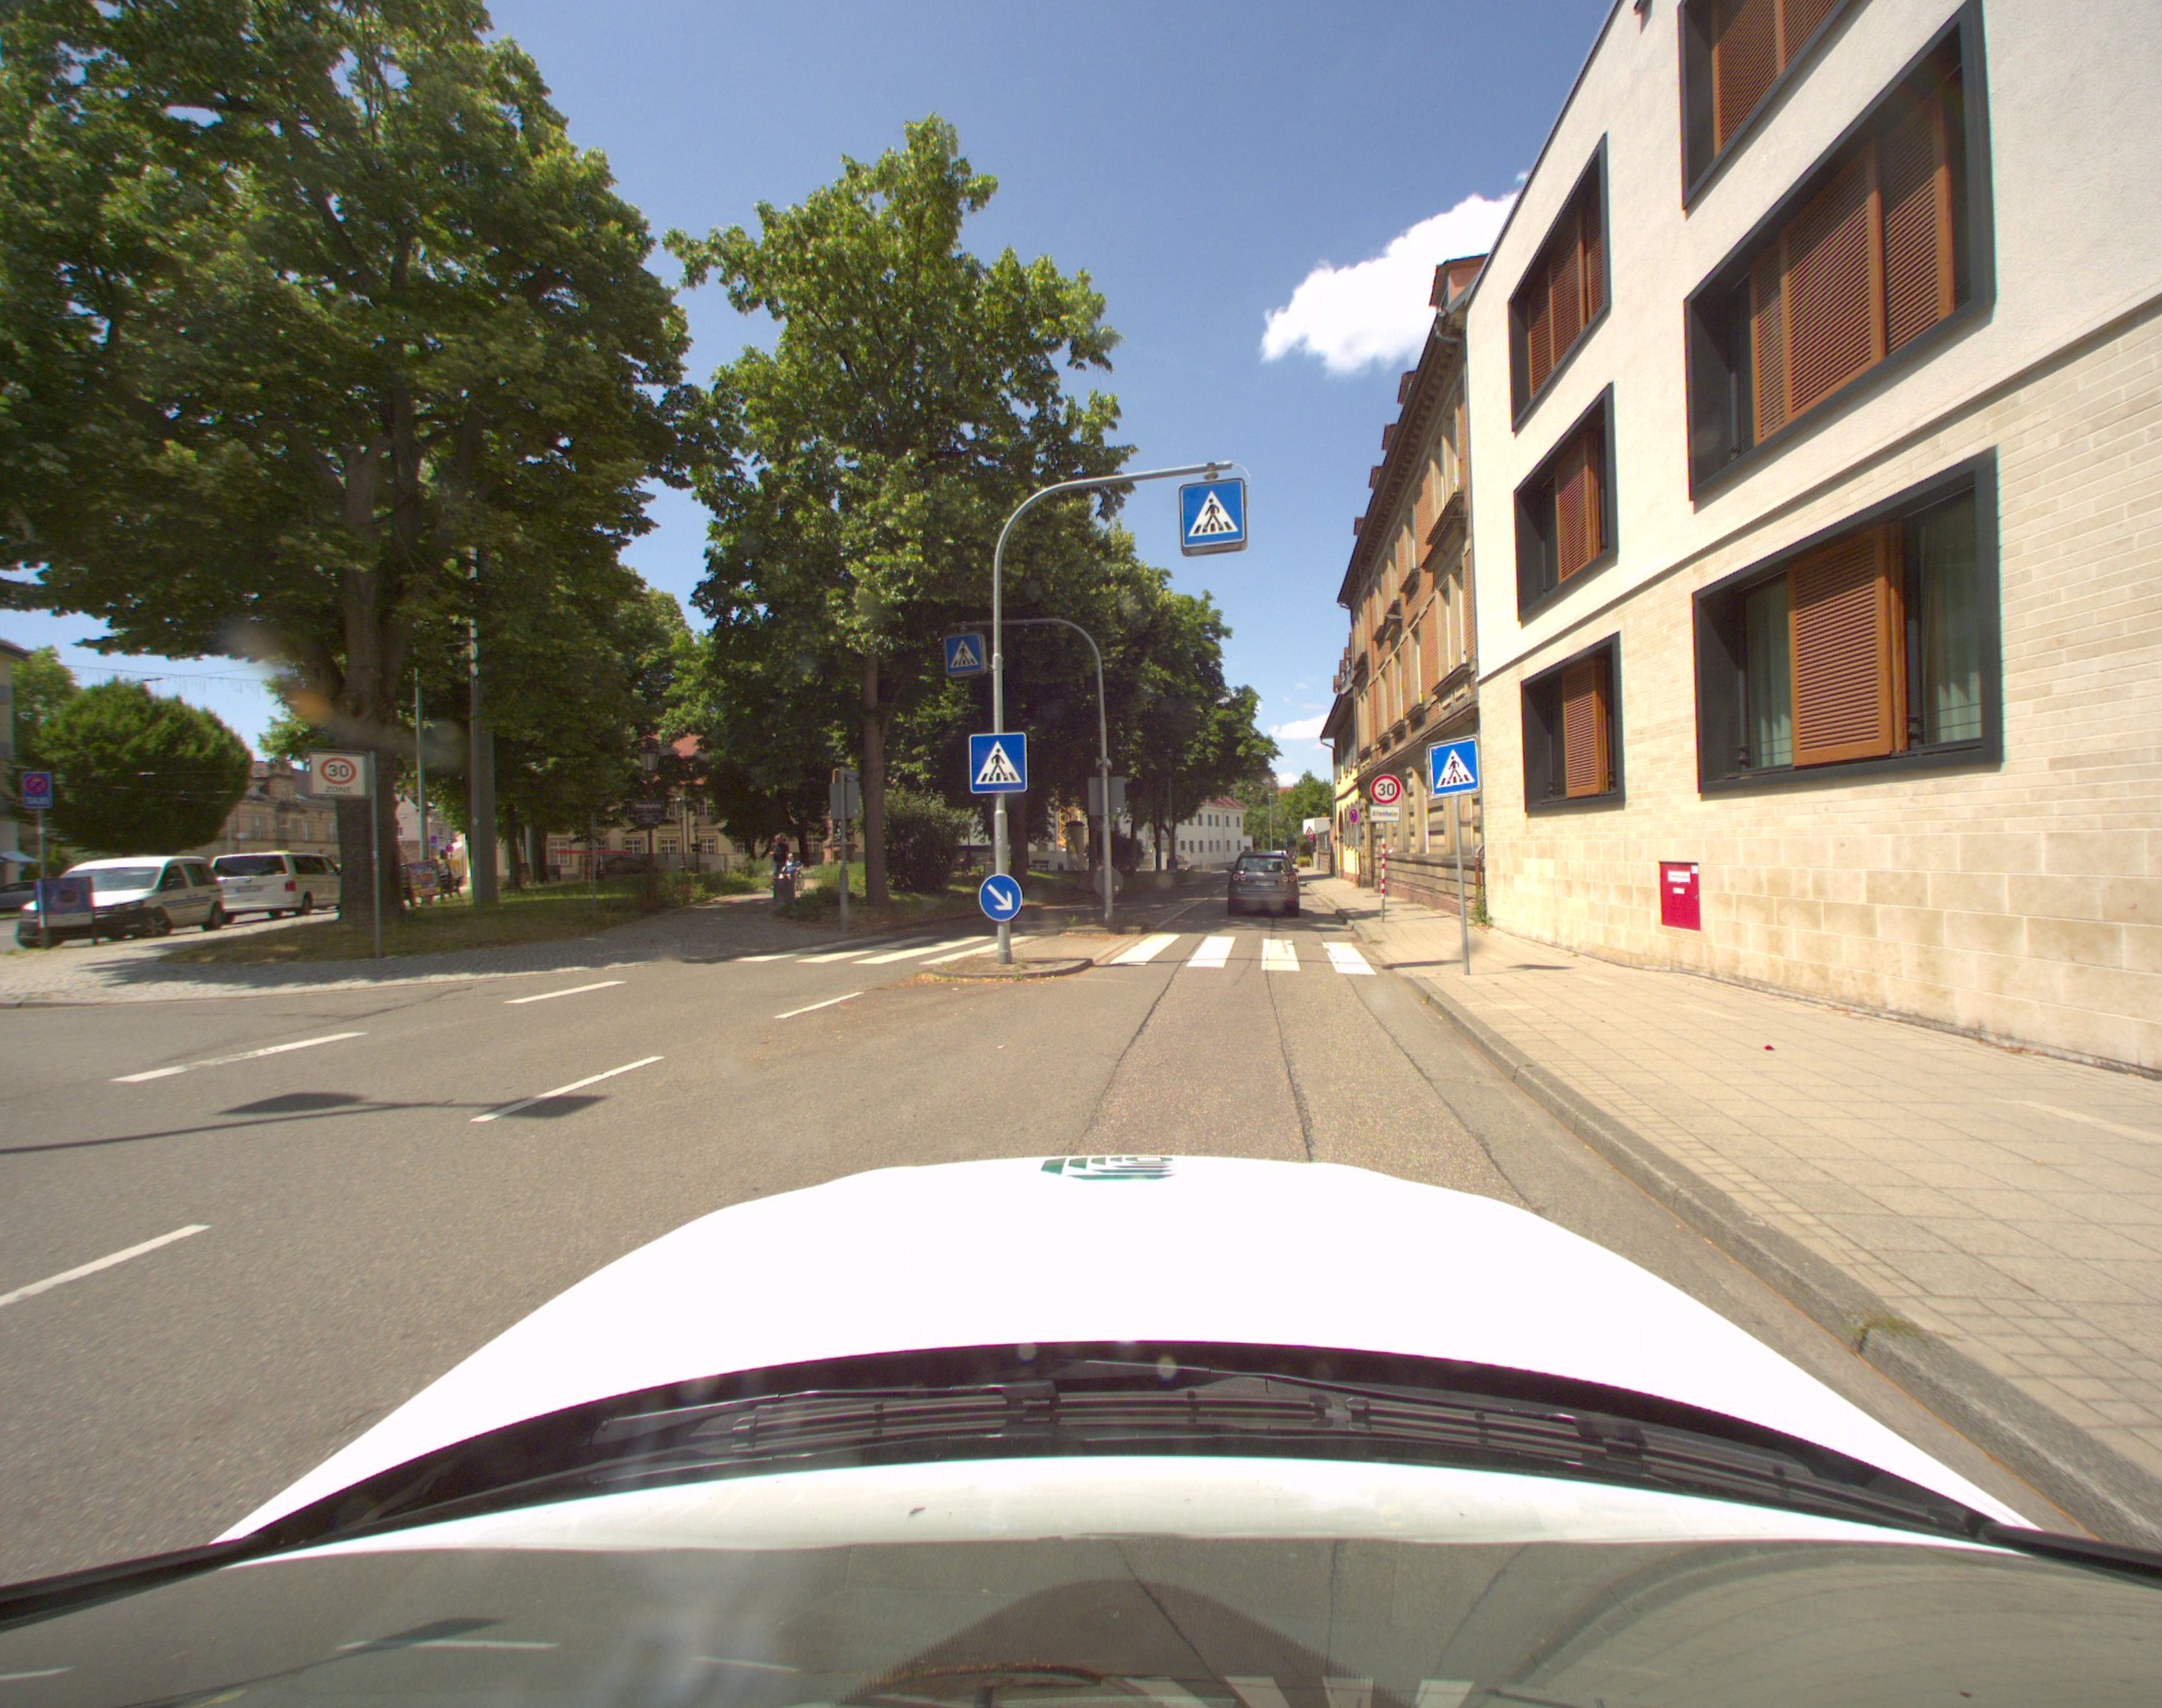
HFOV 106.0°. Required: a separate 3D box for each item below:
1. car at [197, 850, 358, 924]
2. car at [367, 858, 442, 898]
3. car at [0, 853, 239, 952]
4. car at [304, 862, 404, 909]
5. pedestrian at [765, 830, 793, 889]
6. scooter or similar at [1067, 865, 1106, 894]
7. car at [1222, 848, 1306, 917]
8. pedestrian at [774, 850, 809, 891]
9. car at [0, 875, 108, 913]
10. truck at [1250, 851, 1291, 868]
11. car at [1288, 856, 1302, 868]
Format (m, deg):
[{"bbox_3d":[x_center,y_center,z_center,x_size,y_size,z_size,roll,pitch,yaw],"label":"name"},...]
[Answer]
[{"bbox_3d":[-24.491,0.919,25.102,2.061,2.002,5.202,-1,0,-27],"label":"car"},{"bbox_3d":[-31.201,1.067,37.681,1.793,1.693,4.162,-1,0,-27],"label":"car"},{"bbox_3d":[-20.581,0.927,17.671,2.006,1.826,4.380,-1,0,-29],"label":"car"},{"bbox_3d":[-27.875,1.155,31.399,1.793,1.624,4.445,-1,0,-27],"label":"car"},{"bbox_3d":[-9.928,0.158,26.803,0.749,1.910,0.681,-1,1,-14],"label":"pedestrian"},{"bbox_3d":[0.234,1.033,33.508,1.264,0.991,1.456,7,1,11],"label":"scooter or similar"},{"bbox_3d":[4.727,0.667,21.163,1.891,1.533,4.258,2,0,12],"label":"car"},{"bbox_3d":[-9.314,0.508,26.239,0.907,1.252,1.143,-1,1,-14],"label":"pedestrian"},{"bbox_3d":[-49.644,1.914,38.456,4.233,1.504,1.983,-4,1,-33],"label":"car"},{"bbox_3d":[23.591,0.630,101.632,4.769,2.014,2.150,-1,0,6],"label":"truck"},{"bbox_3d":[27.741,0.999,105.461,1.635,1.574,3.652,0,0,13],"label":"car"}]
